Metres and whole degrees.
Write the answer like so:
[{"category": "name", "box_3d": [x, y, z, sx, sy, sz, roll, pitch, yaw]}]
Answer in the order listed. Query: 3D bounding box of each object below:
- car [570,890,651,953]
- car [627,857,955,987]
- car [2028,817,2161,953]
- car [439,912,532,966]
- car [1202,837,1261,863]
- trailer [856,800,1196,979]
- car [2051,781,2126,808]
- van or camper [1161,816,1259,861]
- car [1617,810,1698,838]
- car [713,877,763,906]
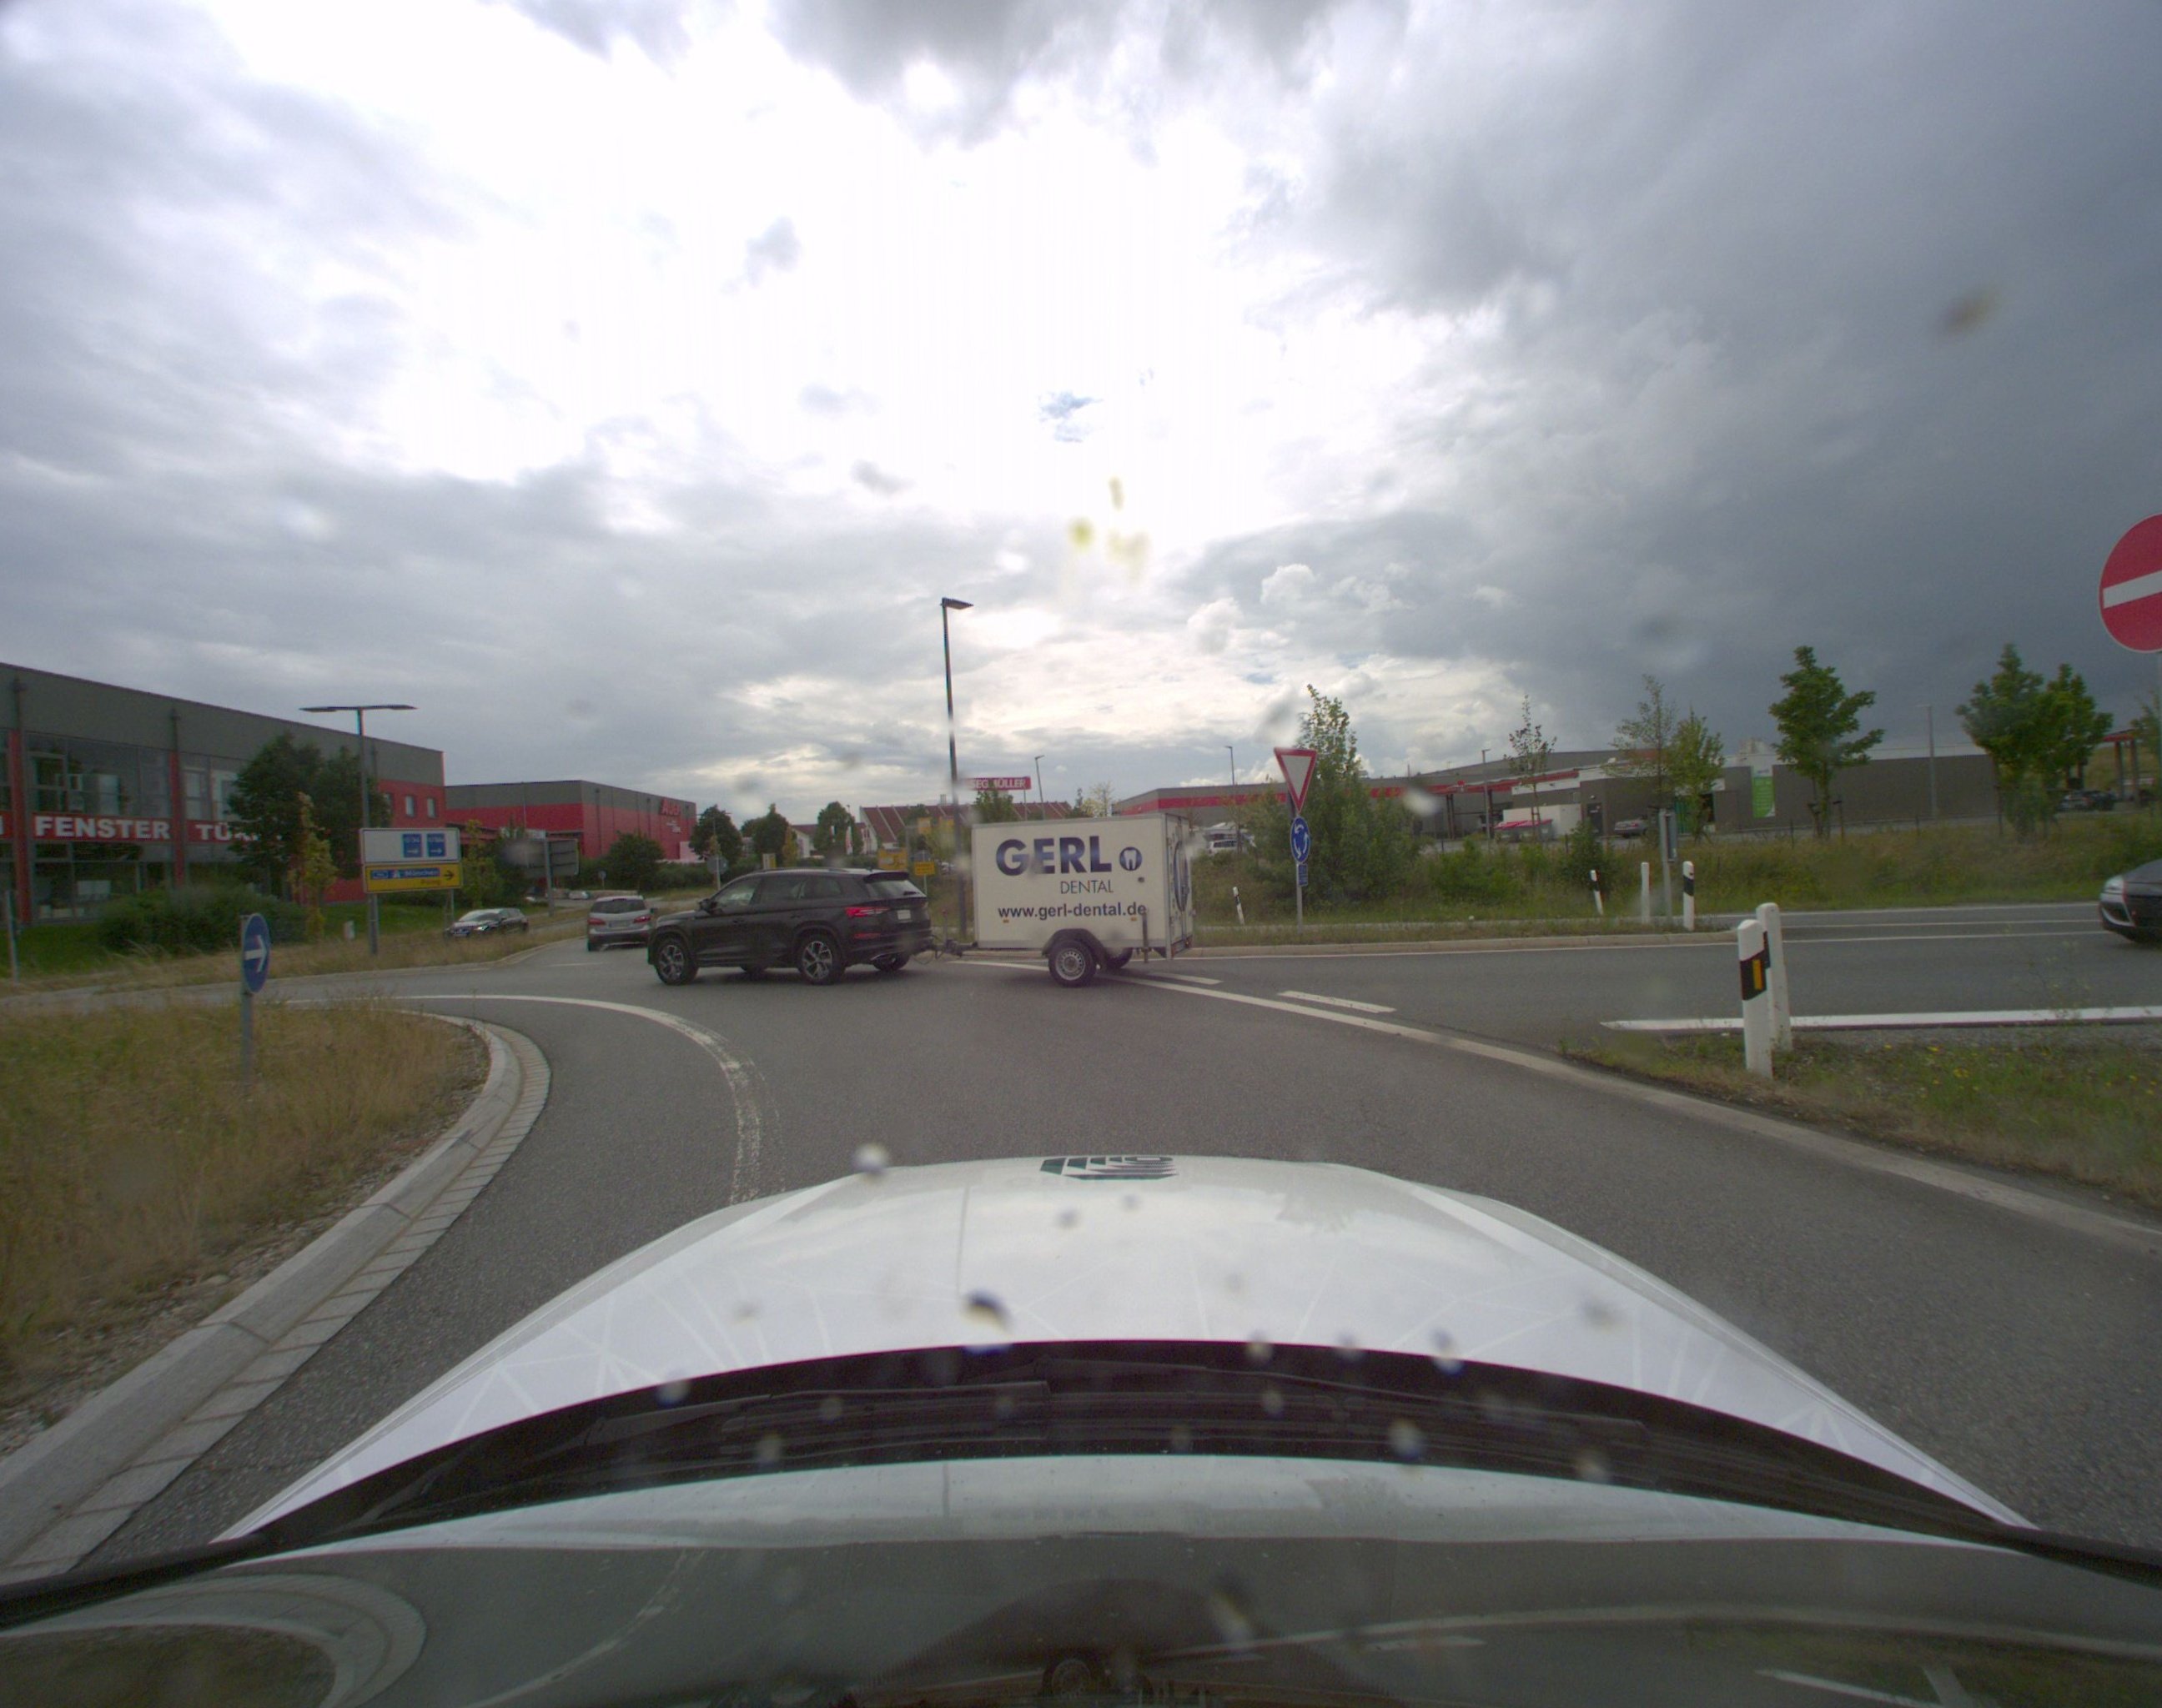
[{"category": "car", "box_3d": [-14.578, 2.004, 25.152, 1.781, 1.616, 3.879, -4, 0, -35]}, {"category": "car", "box_3d": [-4.433, 1.024, 12.466, 4.560, 1.670, 1.827, -3, 0, 22]}, {"category": "car", "box_3d": [13.055, 0.213, 8.531, 4.119, 1.370, 1.843, -3, -1, -1]}, {"category": "car", "box_3d": [-25.615, 3.611, 35.171, 1.677, 1.771, 3.939, -3, 1, -12]}, {"category": "car", "box_3d": [11.507, -0.312, 62.238, 4.044, 1.720, 1.776, -3, 0, -6]}, {"category": "trailer", "box_3d": [-0.704, 0.503, 11.080, 4.099, 2.091, 1.821, -3, 0, 18]}, {"category": "car", "box_3d": [68.881, -4.084, 55.690, 3.655, 1.538, 1.791, -3, -1, -14]}, {"category": "van or camper", "box_3d": [10.915, -1.313, 69.053, 7.716, 3.178, 2.484, -4, 1, -11]}, {"category": "car", "box_3d": [34.470, -1.777, 48.737, 3.989, 1.431, 1.664, -3, -1, -12]}, {"category": "car", "box_3d": [-22.711, 2.442, 54.057, 1.904, 1.618, 3.991, -3, 0, -7]}]
